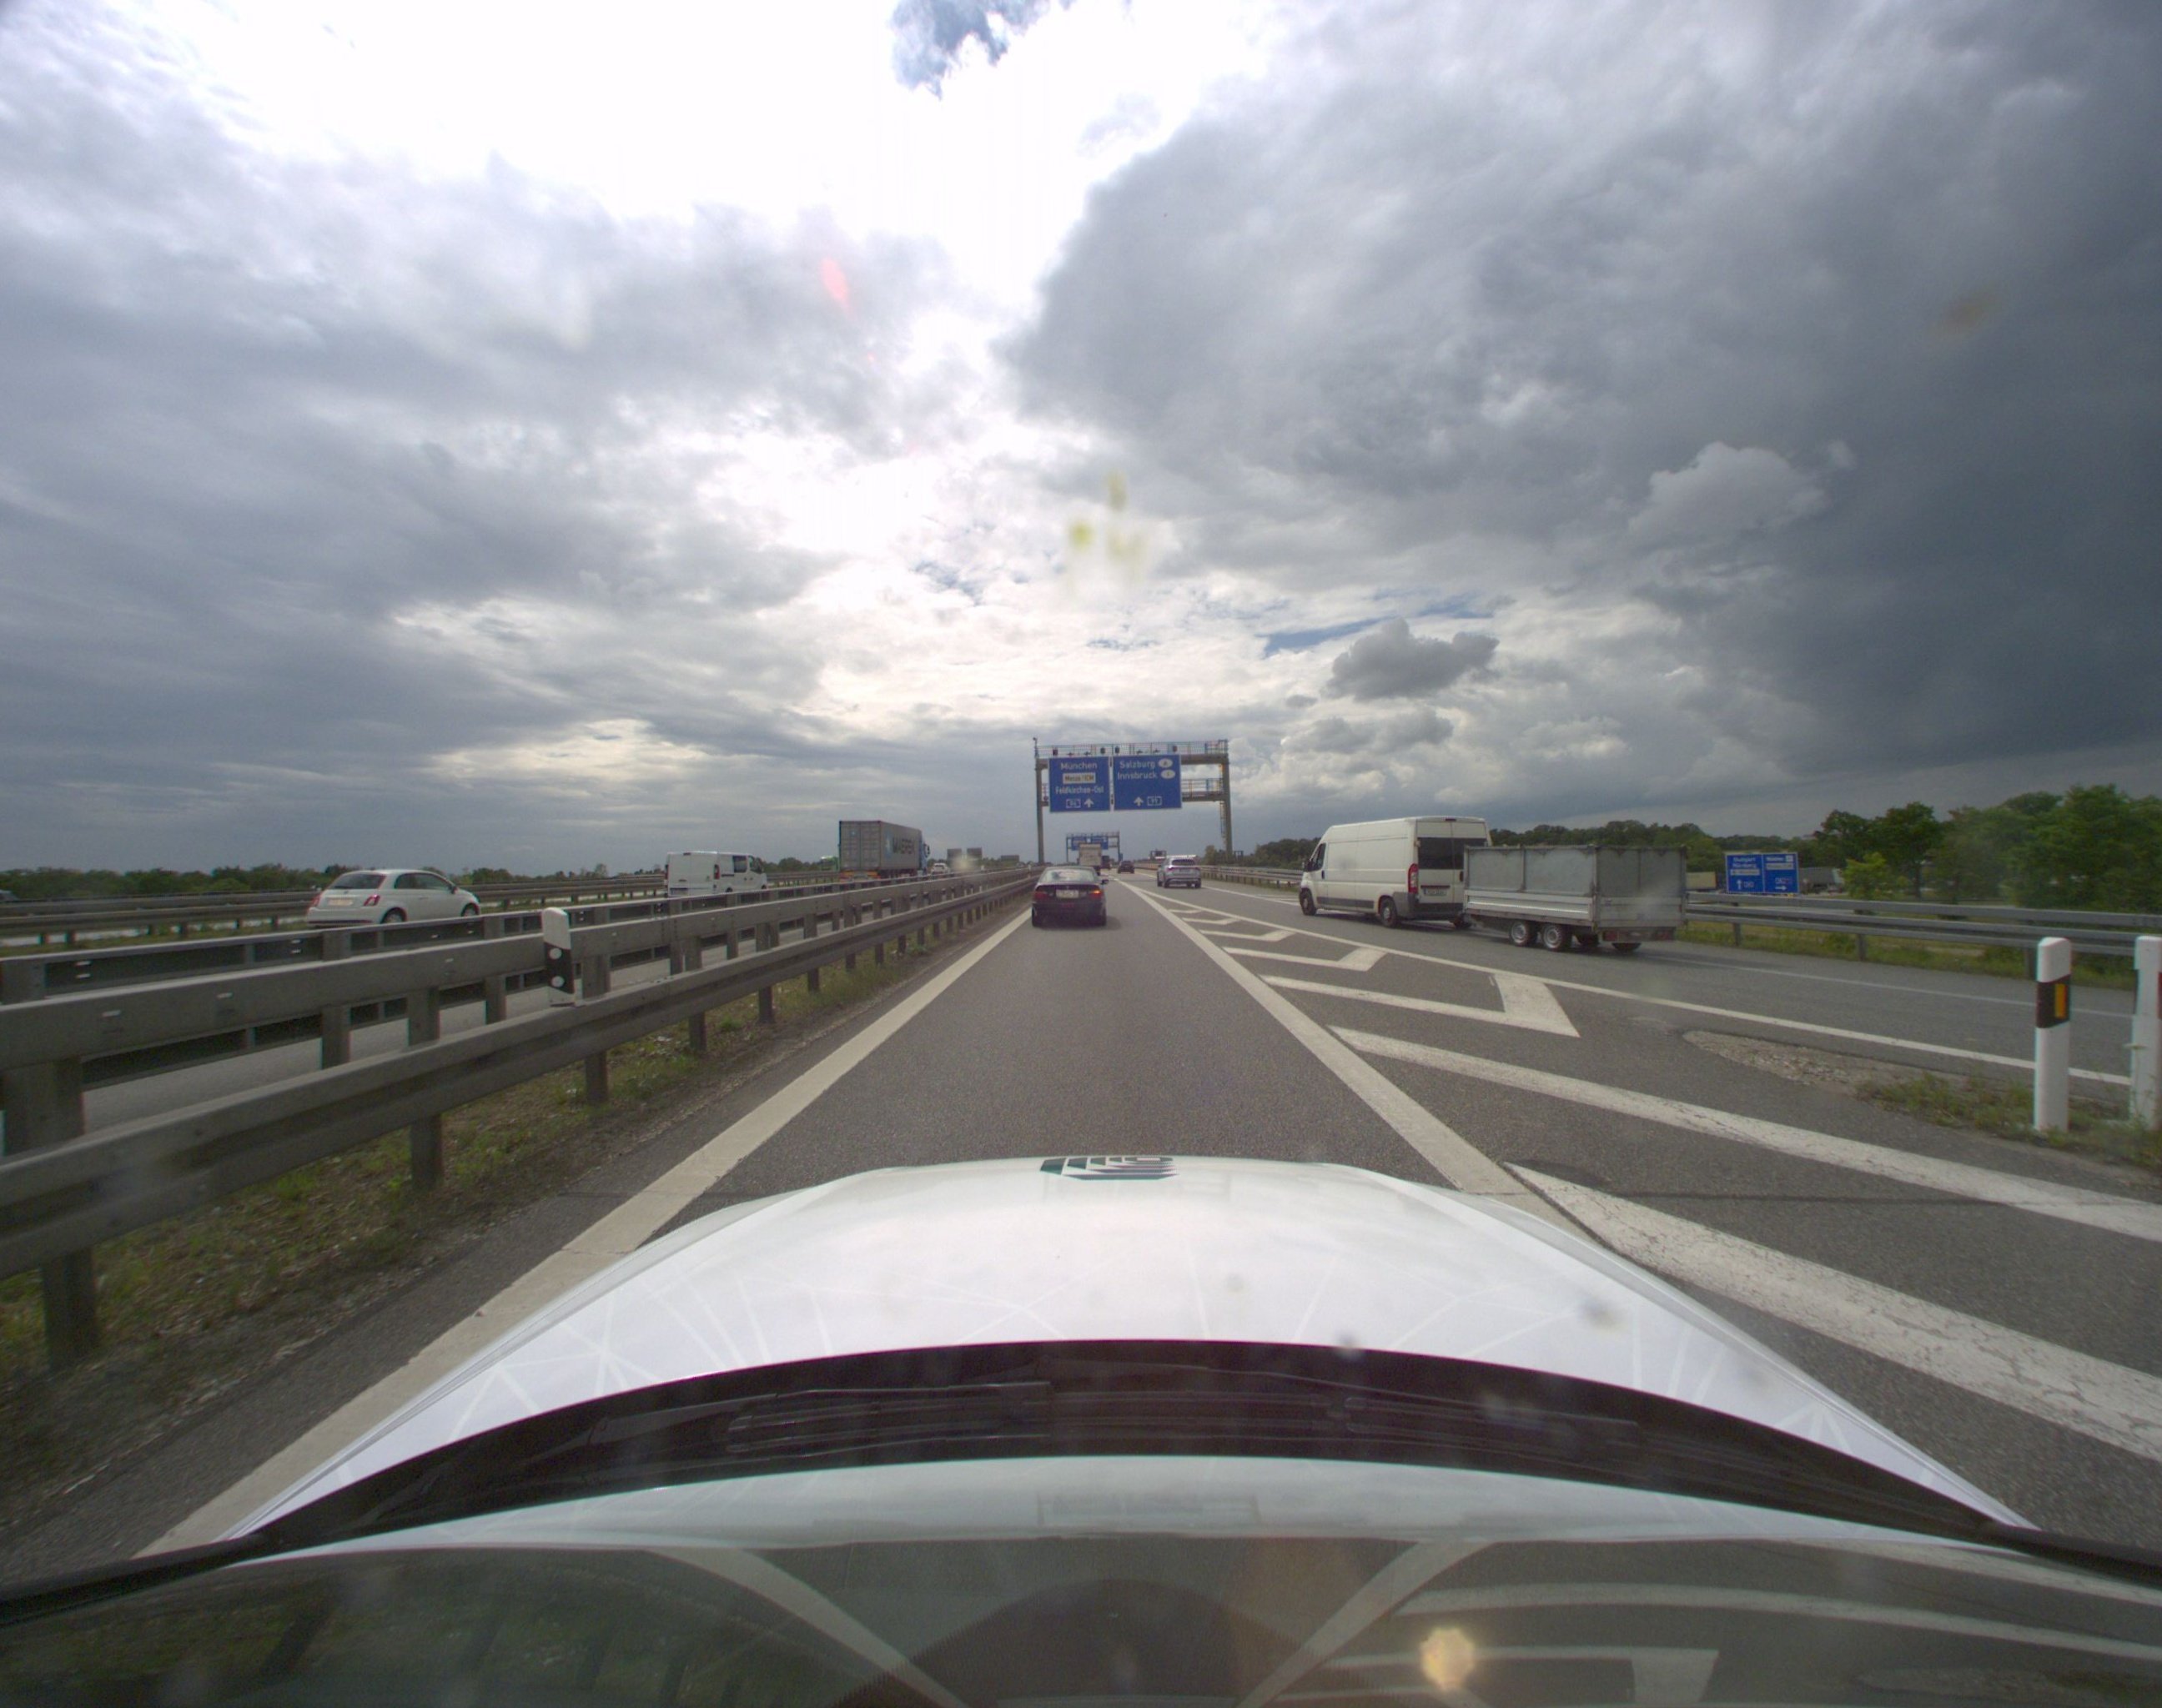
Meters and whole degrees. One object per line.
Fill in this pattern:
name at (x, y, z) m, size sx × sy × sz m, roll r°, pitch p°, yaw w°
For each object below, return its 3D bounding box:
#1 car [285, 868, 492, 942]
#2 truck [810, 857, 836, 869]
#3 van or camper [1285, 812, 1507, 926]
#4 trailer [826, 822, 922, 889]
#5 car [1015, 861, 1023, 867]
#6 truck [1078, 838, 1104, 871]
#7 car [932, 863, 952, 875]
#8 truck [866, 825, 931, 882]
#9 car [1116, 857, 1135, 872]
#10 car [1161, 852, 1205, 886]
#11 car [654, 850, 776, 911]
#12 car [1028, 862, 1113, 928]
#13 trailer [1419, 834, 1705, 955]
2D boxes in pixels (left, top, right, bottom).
car at (-16.066, 1.105, 19.174) m, size 1.676 × 1.485 × 3.771 m, roll -2°, pitch -1°, yaw -2°
truck at (-46.486, 1.591, 146.839) m, size 2.349 × 2.236 × 6.426 m, roll 0°, pitch -1°, yaw 2°
van or camper at (7.373, 0.339, 19.999) m, size 2.225 × 2.361 × 5.915 m, roll 0°, pitch -1°, yaw -12°
trailer at (-13.222, 0.141, 53.360) m, size 3.226 × 3.924 × 12.375 m, roll 0°, pitch -1°, yaw -1°
car at (-17.272, 2.737, 227.636) m, size 1.887 × 1.597 × 4.414 m, roll 0°, pitch 0°, yaw -2°
truck at (0.992, 0.087, 79.495) m, size 2.395 × 3.090 × 6.371 m, roll -1°, pitch 0°, yaw 1°
car at (-16.109, 1.742, 94.349) m, size 1.748 × 1.369 × 4.202 m, roll -1°, pitch 0°, yaw -2°
truck at (-13.291, -0.018, 59.923) m, size 3.236 × 3.911 × 6.608 m, roll 0°, pitch 0°, yaw 0°
car at (4.909, 1.166, 90.064) m, size 1.986 × 1.552 × 4.001 m, roll 0°, pitch -1°, yaw 1°
car at (5.296, 0.762, 42.782) m, size 1.928 × 1.685 × 4.211 m, roll -1°, pitch 0°, yaw 2°
car at (-12.871, 0.883, 29.084) m, size 1.993 × 1.938 × 5.131 m, roll -1°, pitch -1°, yaw 0°
car at (-0.178, 0.883, 19.297) m, size 1.776 × 1.378 × 4.137 m, roll 0°, pitch 0°, yaw 1°
trailer at (8.429, 0.642, 14.858) m, size 1.995 × 1.841 × 4.488 m, roll 0°, pitch -1°, yaw -12°
